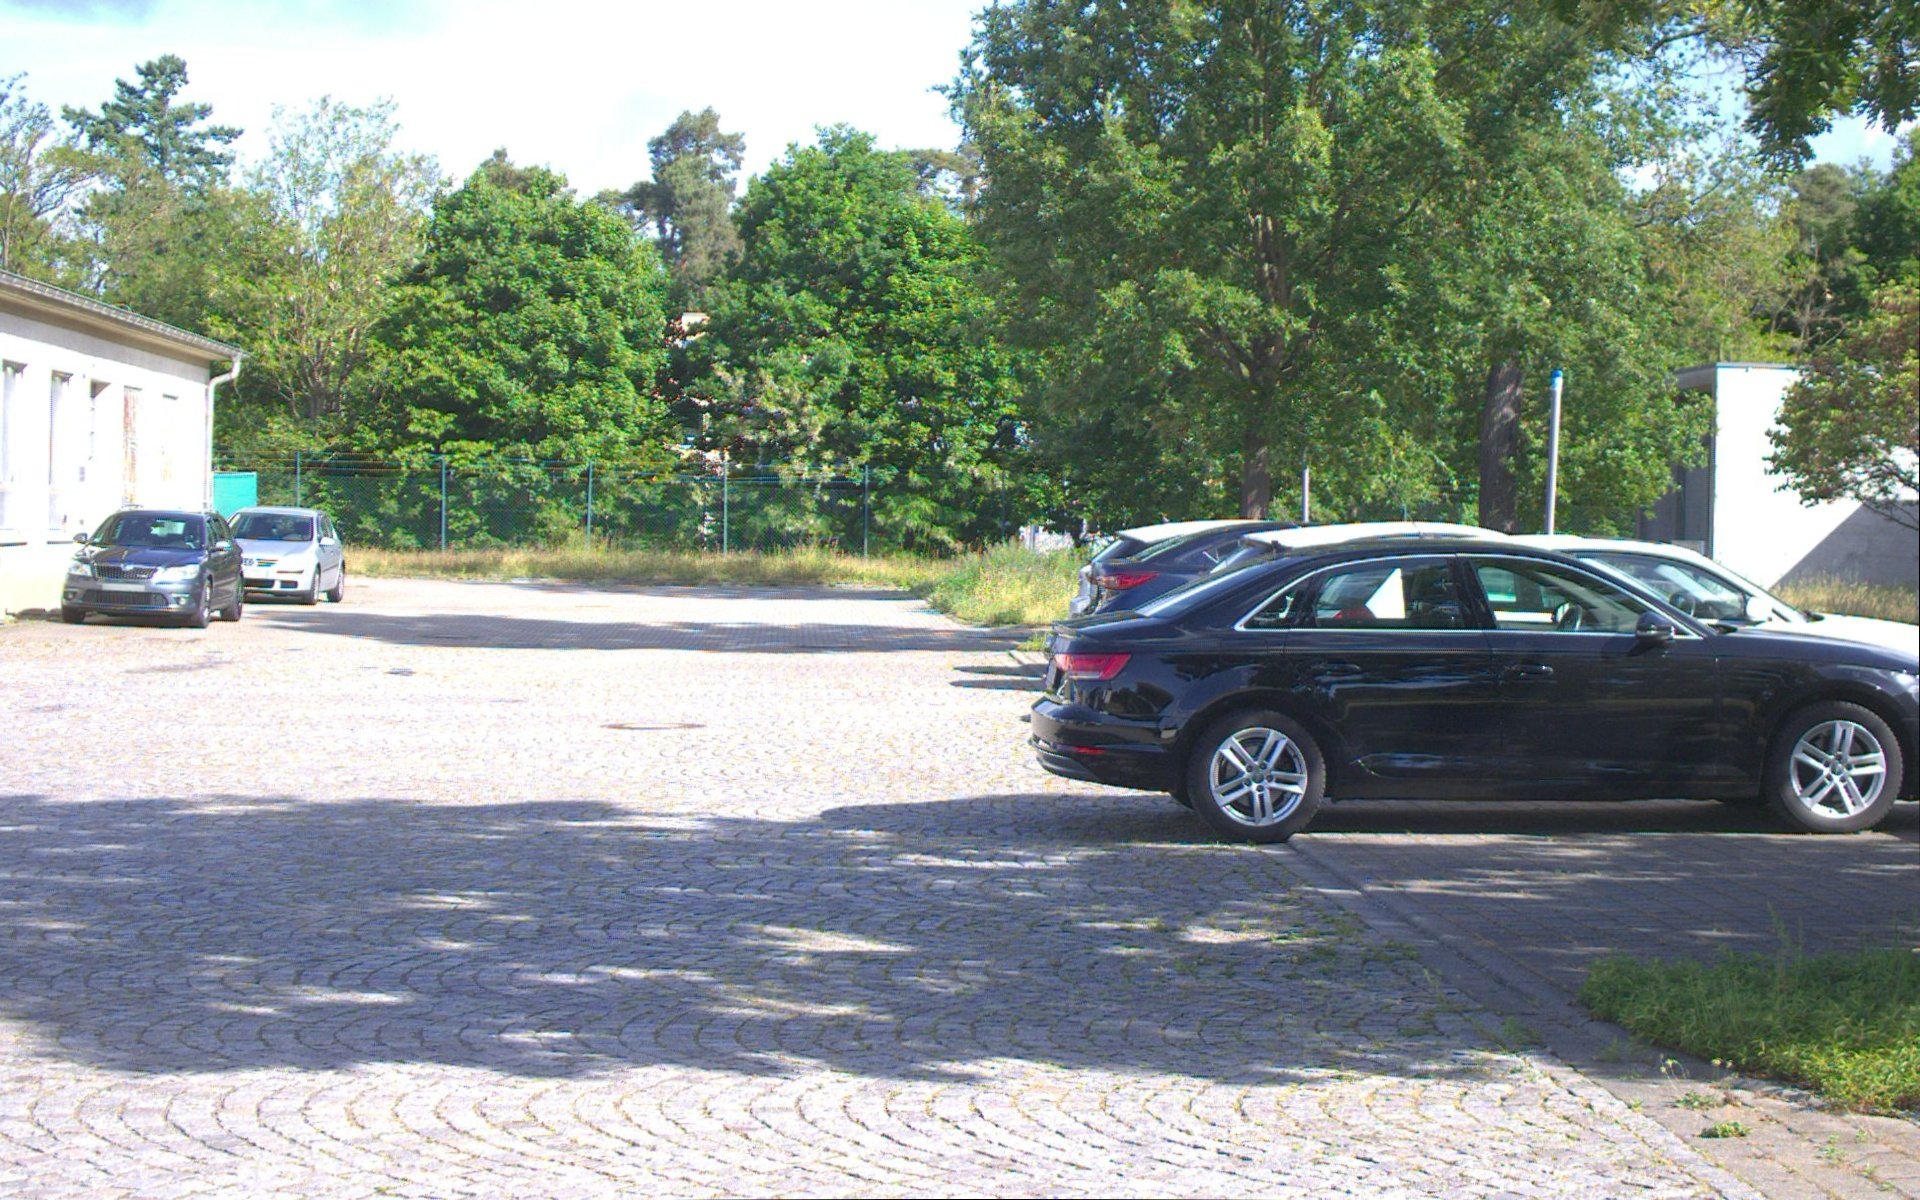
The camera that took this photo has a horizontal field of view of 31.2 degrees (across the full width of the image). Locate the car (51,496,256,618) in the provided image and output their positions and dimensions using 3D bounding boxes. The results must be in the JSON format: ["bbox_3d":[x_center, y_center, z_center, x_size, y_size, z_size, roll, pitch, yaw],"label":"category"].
[{"bbox_3d":[-10.177,-0.566,43.650,1.763,1.430,3.992,2,1,-2],"label":"car"}]

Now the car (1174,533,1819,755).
[{"bbox_3d":[3.433,0.260,22.489,3.912,1.367,1.728,0,1,-2],"label":"car"}]

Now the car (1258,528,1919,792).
[{"bbox_3d":[3.855,0.322,20.045,4.138,1.455,1.691,0,1,3],"label":"car"}]

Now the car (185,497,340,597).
[{"bbox_3d":[-10.759,-0.835,53.215,1.687,1.430,3.987,2,1,-2],"label":"car"}]

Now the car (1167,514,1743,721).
[{"bbox_3d":[3.545,0.101,25.077,3.912,1.441,1.756,0,1,-2],"label":"car"}]

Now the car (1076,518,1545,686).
[{"bbox_3d":[3.030,-0.007,30.227,3.912,1.412,1.693,0,1,-2],"label":"car"}]

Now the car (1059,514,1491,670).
[{"bbox_3d":[2.959,-0.094,32.879,3.912,1.430,1.796,0,1,-2],"label":"car"}]

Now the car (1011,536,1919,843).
[{"bbox_3d":[2.679,0.406,17.263,4.718,1.418,1.757,0,1,-4],"label":"car"}]
